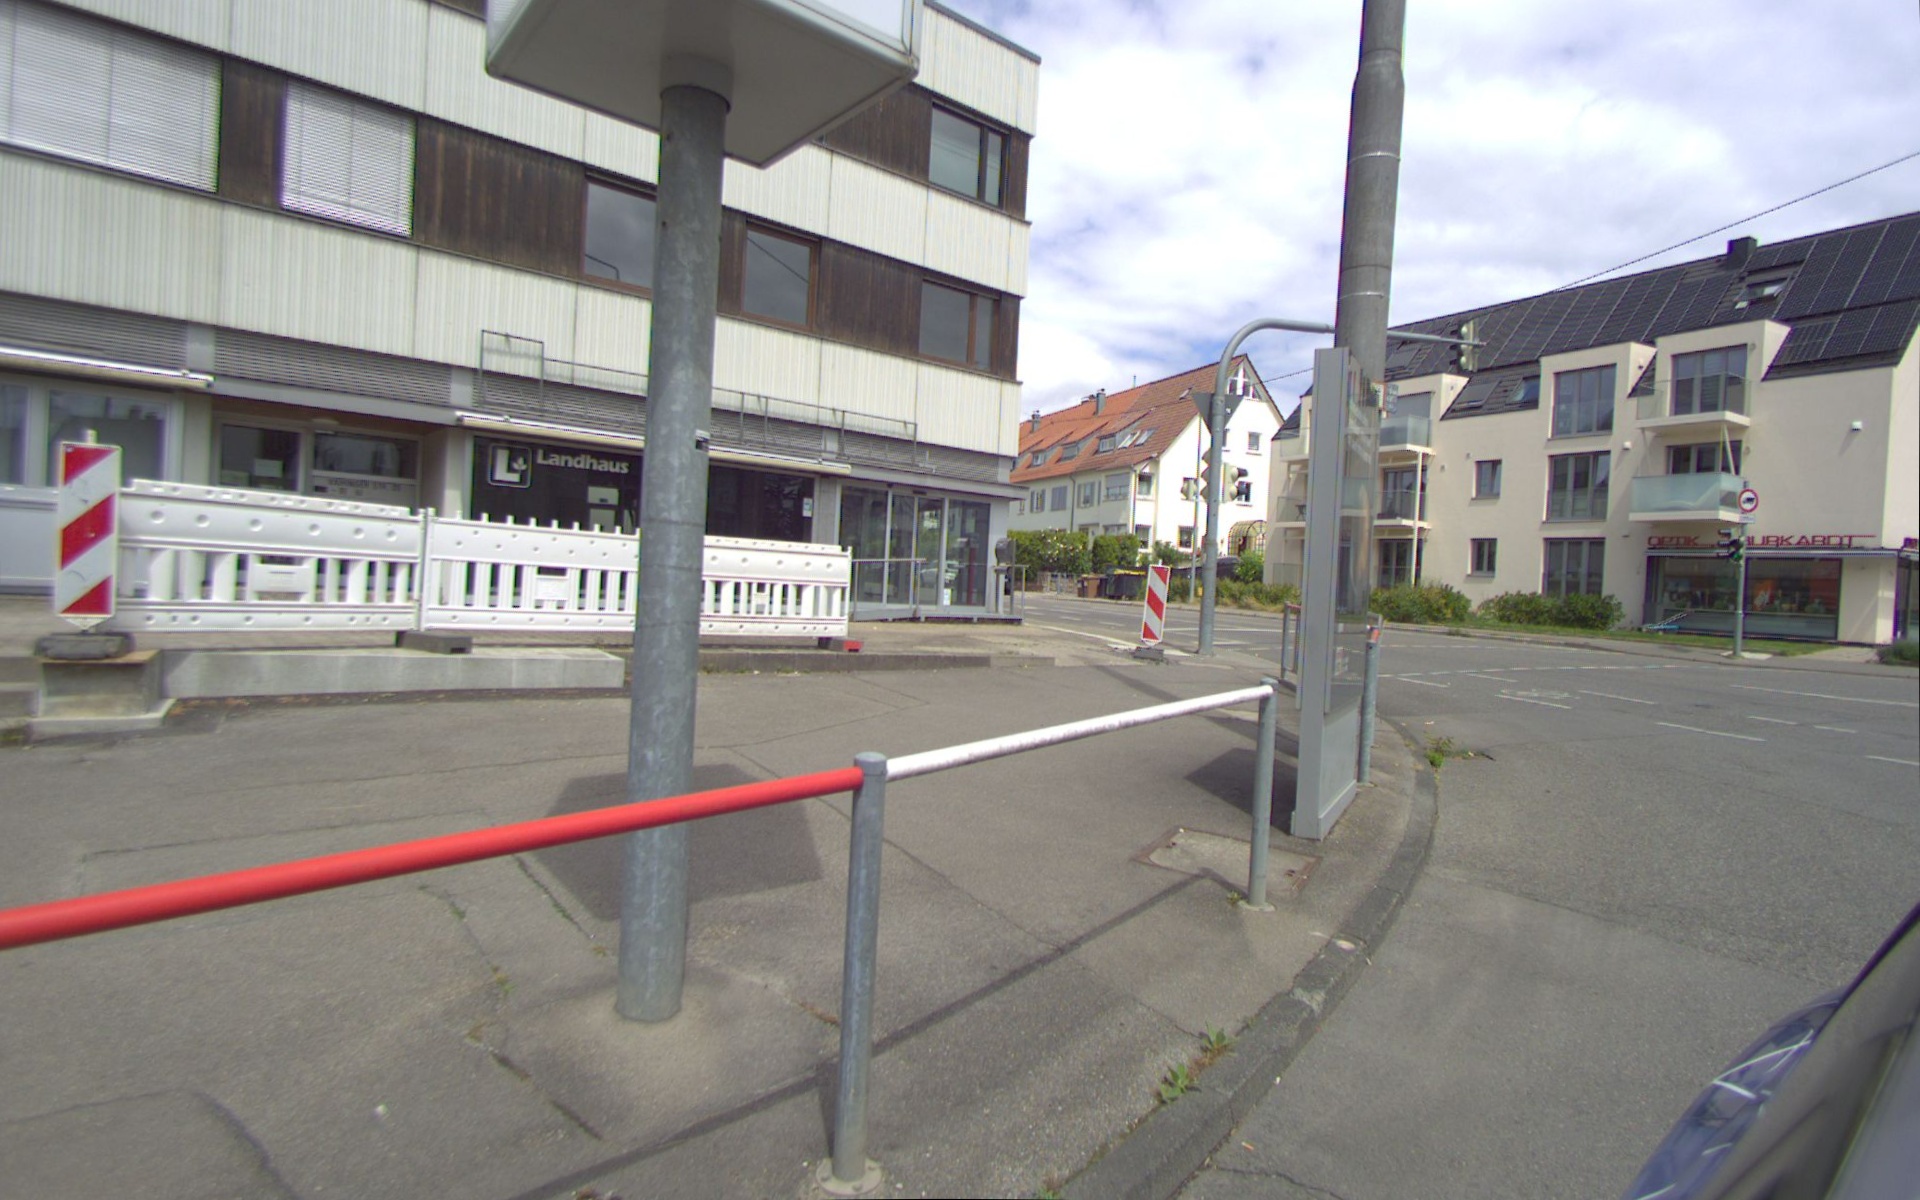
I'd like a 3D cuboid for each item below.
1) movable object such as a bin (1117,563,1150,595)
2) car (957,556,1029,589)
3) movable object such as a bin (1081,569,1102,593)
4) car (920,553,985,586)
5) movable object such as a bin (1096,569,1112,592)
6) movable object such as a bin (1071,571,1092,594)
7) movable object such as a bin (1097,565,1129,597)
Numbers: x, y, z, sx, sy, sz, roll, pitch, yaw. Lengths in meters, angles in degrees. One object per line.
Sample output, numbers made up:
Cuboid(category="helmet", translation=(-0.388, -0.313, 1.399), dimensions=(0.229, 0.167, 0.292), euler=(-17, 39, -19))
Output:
Cuboid(category="movable object such as a bin", translation=(7.852, -0.943, 45.791), dimensions=(1.070, 1.379, 0.983), euler=(2, 2, -24))
Cuboid(category="car", translation=(1.682, -1.459, 52.587), dimensions=(1.782, 1.519, 4.462), euler=(1, 2, -27))
Cuboid(category="movable object such as a bin", translation=(6.228, -0.890, 48.000), dimensions=(0.748, 1.078, 0.694), euler=(2, 2, -17))
Cuboid(category="car", translation=(-0.466, -1.747, 56.825), dimensions=(1.958, 1.653, 4.464), euler=(2, 2, -24))
Cuboid(category="movable object such as a bin", translation=(6.862, -0.947, 48.205), dimensions=(0.518, 1.078, 0.650), euler=(3, 2, 27))
Cuboid(category="movable object such as a bin", translation=(5.860, -0.836, 48.667), dimensions=(0.748, 1.078, 0.694), euler=(2, 2, -17))
Cuboid(category="movable object such as a bin", translation=(7.130, -0.893, 47.306), dimensions=(1.070, 1.464, 0.983), euler=(2, 2, -24))
